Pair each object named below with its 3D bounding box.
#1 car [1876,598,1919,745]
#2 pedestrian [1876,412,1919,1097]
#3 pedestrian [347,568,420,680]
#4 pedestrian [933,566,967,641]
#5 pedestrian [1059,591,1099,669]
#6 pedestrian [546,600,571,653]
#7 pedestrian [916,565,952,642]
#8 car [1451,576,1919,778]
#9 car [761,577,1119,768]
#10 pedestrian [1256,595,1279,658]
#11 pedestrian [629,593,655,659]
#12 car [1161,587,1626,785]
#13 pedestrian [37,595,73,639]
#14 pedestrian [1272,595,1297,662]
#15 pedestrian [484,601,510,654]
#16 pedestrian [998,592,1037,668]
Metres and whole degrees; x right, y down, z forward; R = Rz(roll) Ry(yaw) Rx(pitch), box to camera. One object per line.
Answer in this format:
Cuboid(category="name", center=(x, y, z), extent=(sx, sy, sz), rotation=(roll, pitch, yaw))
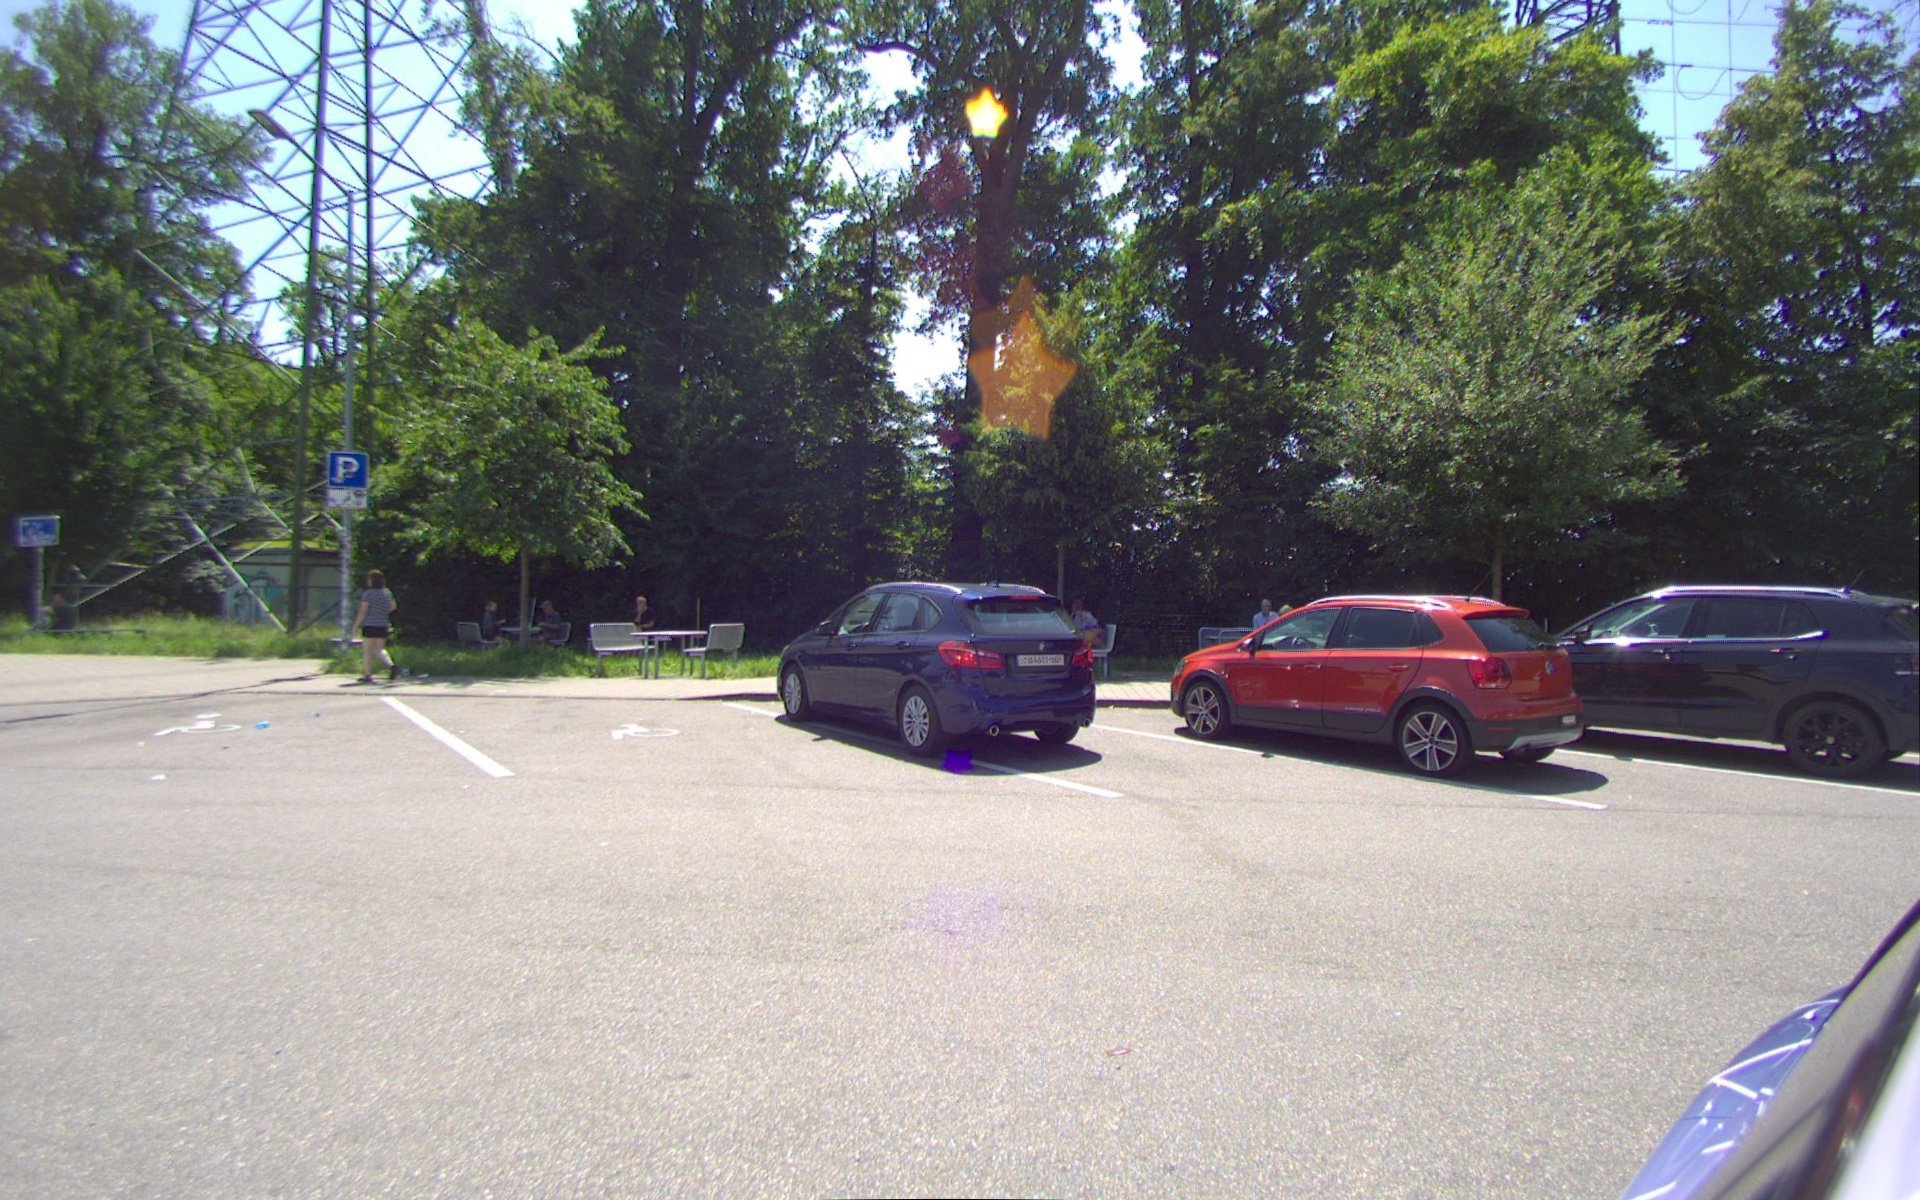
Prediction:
Cuboid(category="car", center=(10.880, 0.701, 9.002), extent=(1.620, 1.420, 3.826), rotation=(0, 0, -37))
Cuboid(category="pedestrian", center=(3.056, 0.449, 2.556), extent=(0.804, 1.974, 0.914), rotation=(0, 0, 21))
Cuboid(category="pedestrian", center=(-8.839, 0.348, 15.521), extent=(0.706, 1.670, 0.683), rotation=(0, 0, 19))
Cuboid(category="pedestrian", center=(-0.214, 0.066, 22.386), extent=(0.565, 1.625, 0.643), rotation=(0, 0, 19))
Cuboid(category="pedestrian", center=(1.985, 0.490, 16.847), extent=(0.586, 1.261, 0.498), rotation=(0, 0, 16))
Cuboid(category="pedestrian", center=(-9.363, 0.609, 23.590), extent=(0.452, 1.209, 0.447), rotation=(0, 0, -34))
Cuboid(category="pedestrian", center=(-0.555, 0.074, 21.698), extent=(0.565, 1.625, 0.643), rotation=(0, 0, 19))
Cuboid(category="car", center=(7.079, 0.590, 9.856), extent=(1.620, 1.575, 3.826), rotation=(0, 0, -37))
Cuboid(category="car", center=(-0.448, 0.550, 10.610), extent=(1.714, 1.572, 4.347), rotation=(0, 1, -33))
Cuboid(category="pedestrian", center=(5.802, 0.489, 19.117), extent=(0.350, 1.180, 0.384), rotation=(0, 0, 8))
Cuboid(category="pedestrian", center=(-6.704, 0.541, 21.337), extent=(0.438, 1.363, 0.462), rotation=(0, 0, -5))
Cuboid(category="car", center=(3.863, 0.631, 9.640), extent=(1.619, 1.487, 3.830), rotation=(0, 0, -33))
Cuboid(category="pedestrian", center=(-20.969, 0.389, 23.448), extent=(0.452, 0.987, 0.447), rotation=(0, 0, -2))
Cuboid(category="pedestrian", center=(5.753, 0.501, 17.941), extent=(0.350, 1.180, 0.384), rotation=(0, 0, 8))
Cuboid(category="pedestrian", center=(-10.451, 0.608, 22.849), extent=(0.452, 1.182, 0.447), rotation=(0, 0, -34))
Cuboid(category="pedestrian", center=(0.972, 0.493, 17.104), extent=(0.586, 1.261, 0.445), rotation=(0, 0, 16))
